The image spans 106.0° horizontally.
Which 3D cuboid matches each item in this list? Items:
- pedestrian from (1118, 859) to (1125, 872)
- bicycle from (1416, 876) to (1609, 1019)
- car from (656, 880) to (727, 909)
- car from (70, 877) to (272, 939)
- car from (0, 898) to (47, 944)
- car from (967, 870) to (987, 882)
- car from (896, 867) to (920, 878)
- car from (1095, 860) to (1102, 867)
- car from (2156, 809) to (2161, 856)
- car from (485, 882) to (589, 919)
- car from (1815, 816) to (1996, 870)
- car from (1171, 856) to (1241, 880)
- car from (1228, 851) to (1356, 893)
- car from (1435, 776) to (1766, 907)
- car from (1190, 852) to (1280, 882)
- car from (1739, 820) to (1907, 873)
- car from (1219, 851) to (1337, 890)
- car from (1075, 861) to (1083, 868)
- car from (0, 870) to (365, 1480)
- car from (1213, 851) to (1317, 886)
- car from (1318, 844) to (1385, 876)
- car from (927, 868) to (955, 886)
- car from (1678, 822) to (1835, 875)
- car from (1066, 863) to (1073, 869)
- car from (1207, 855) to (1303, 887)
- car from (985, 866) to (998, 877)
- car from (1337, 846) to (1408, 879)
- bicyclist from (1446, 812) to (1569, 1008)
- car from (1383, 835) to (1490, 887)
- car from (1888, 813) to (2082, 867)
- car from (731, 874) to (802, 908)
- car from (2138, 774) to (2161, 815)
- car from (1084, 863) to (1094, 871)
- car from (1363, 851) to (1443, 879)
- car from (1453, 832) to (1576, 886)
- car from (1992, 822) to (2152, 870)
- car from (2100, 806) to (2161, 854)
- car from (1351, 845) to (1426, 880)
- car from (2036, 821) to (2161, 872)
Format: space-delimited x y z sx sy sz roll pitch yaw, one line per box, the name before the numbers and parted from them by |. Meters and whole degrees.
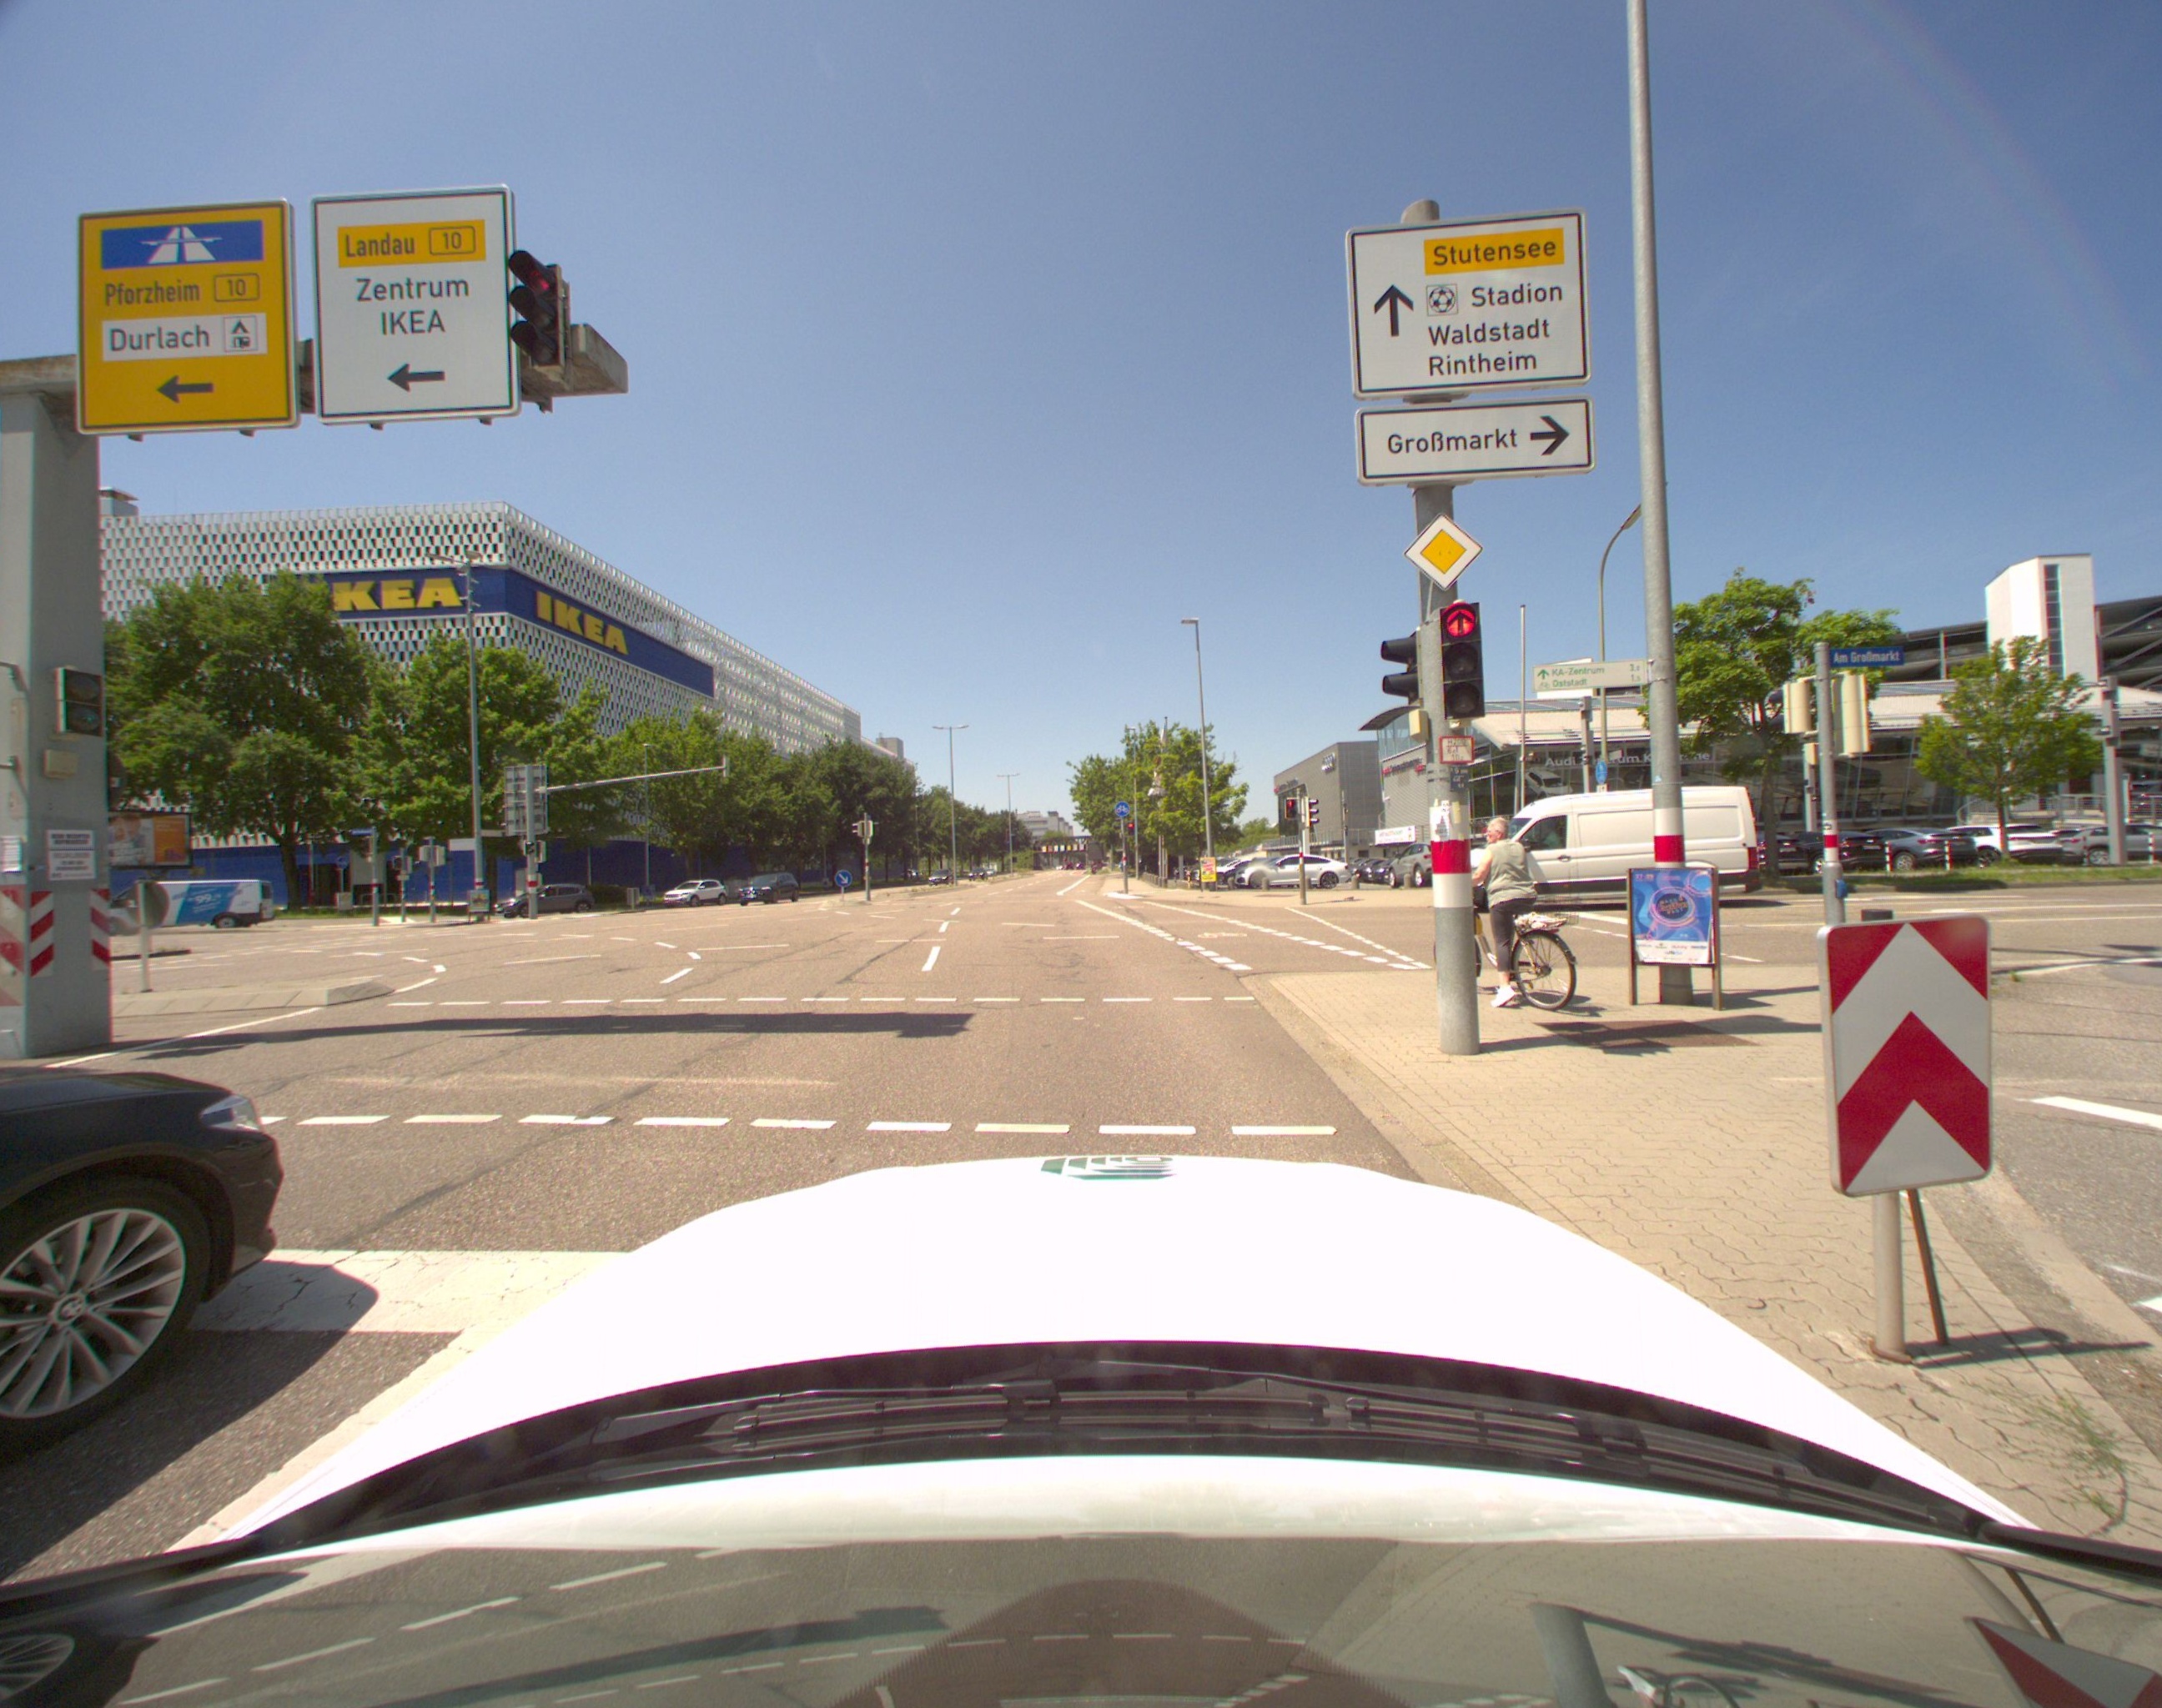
pedestrian | 4.902 1.372 98.486 0.665 1.510 0.736 -2 -1 1
bicycle | 4.050 0.816 7.854 0.784 1.127 1.919 -1 0 -2
car | -22.642 2.329 47.539 1.611 1.457 4.082 -3 -1 10
car | -34.720 1.996 31.312 4.784 2.008 1.978 -2 -1 -35
car | -35.921 2.200 26.026 4.197 1.411 1.676 -2 -1 9
car | -12.272 2.588 96.247 1.678 1.411 3.666 -3 -1 2
car | -31.914 3.397 150.092 3.977 1.810 2.012 0 0 30
car | 4.749 2.619 220.885 1.765 1.728 4.001 -3 -1 2
car | 39.568 -0.815 26.805 4.705 1.639 1.844 -3 0 24
car | -26.196 2.223 39.304 1.753 1.533 3.778 -4 -2 35
car | 28.560 -0.354 28.461 1.821 1.639 4.476 -3 0 2
car | 8.975 0.981 58.887 4.726 1.457 2.000 -3 0 0
car | 8.494 0.706 33.172 4.721 1.457 2.002 -2 0 3
car | 11.116 -0.199 17.973 5.740 2.534 2.110 -2 -1 14
car | 8.748 0.733 46.489 4.726 1.457 2.000 -2 0 0
car | 25.733 -0.249 28.498 1.821 1.639 4.476 -3 0 2
car | 8.577 0.728 35.769 4.721 1.457 2.002 -2 -2 3
car | -0.541 2.882 220.411 1.765 1.728 4.001 -3 -1 2
car | -3.559 0.801 0.660 1.793 1.466 4.624 -1 0 1
car | 8.930 0.691 39.860 4.721 1.457 2.002 -2 0 3
car | 18.737 0.416 56.484 3.971 2.014 2.001 -2 -1 2
car | -12.613 2.029 73.548 1.725 1.427 3.707 -4 -1 2
car | 23.418 -0.185 28.487 1.821 1.639 4.476 -3 0 2
car | -3.235 3.305 225.821 1.765 1.728 4.001 -3 -1 2
car | 9.278 0.884 43.681 4.726 1.457 2.000 -2 0 0
car | -14.574 2.812 132.652 1.645 1.653 4.160 -2 -1 -2
car | 19.334 0.567 54.064 3.971 2.014 2.001 -2 -1 2
bicyclist | 4.020 0.504 7.727 0.732 1.749 0.753 -1 0 -3
car | 12.434 0.228 28.829 1.986 1.639 4.270 -2 0 2
car | 31.223 -0.454 28.367 1.821 1.639 4.476 -3 0 2
car | -16.765 1.929 43.671 1.868 1.598 4.498 -3 -1 2
car | 54.929 -3.030 39.503 1.989 2.013 3.995 -2 -1 -3
car | 1.060 1.658 105.528 1.133 1.042 2.309 -2 0 2
car | 19.291 0.650 48.903 4.076 1.460 1.720 -2 0 2
car | 15.086 0.154 28.660 1.986 1.639 4.559 -2 0 2
car | 40.294 -0.309 33.263 3.720 1.772 1.781 -3 -1 32
car | 47.086 -1.093 35.027 3.728 2.014 1.866 -2 -1 11
car | 19.311 0.512 51.247 3.971 2.014 2.001 -2 -1 2
car | 39.135 -0.277 30.662 3.665 1.777 1.759 -3 -1 28
